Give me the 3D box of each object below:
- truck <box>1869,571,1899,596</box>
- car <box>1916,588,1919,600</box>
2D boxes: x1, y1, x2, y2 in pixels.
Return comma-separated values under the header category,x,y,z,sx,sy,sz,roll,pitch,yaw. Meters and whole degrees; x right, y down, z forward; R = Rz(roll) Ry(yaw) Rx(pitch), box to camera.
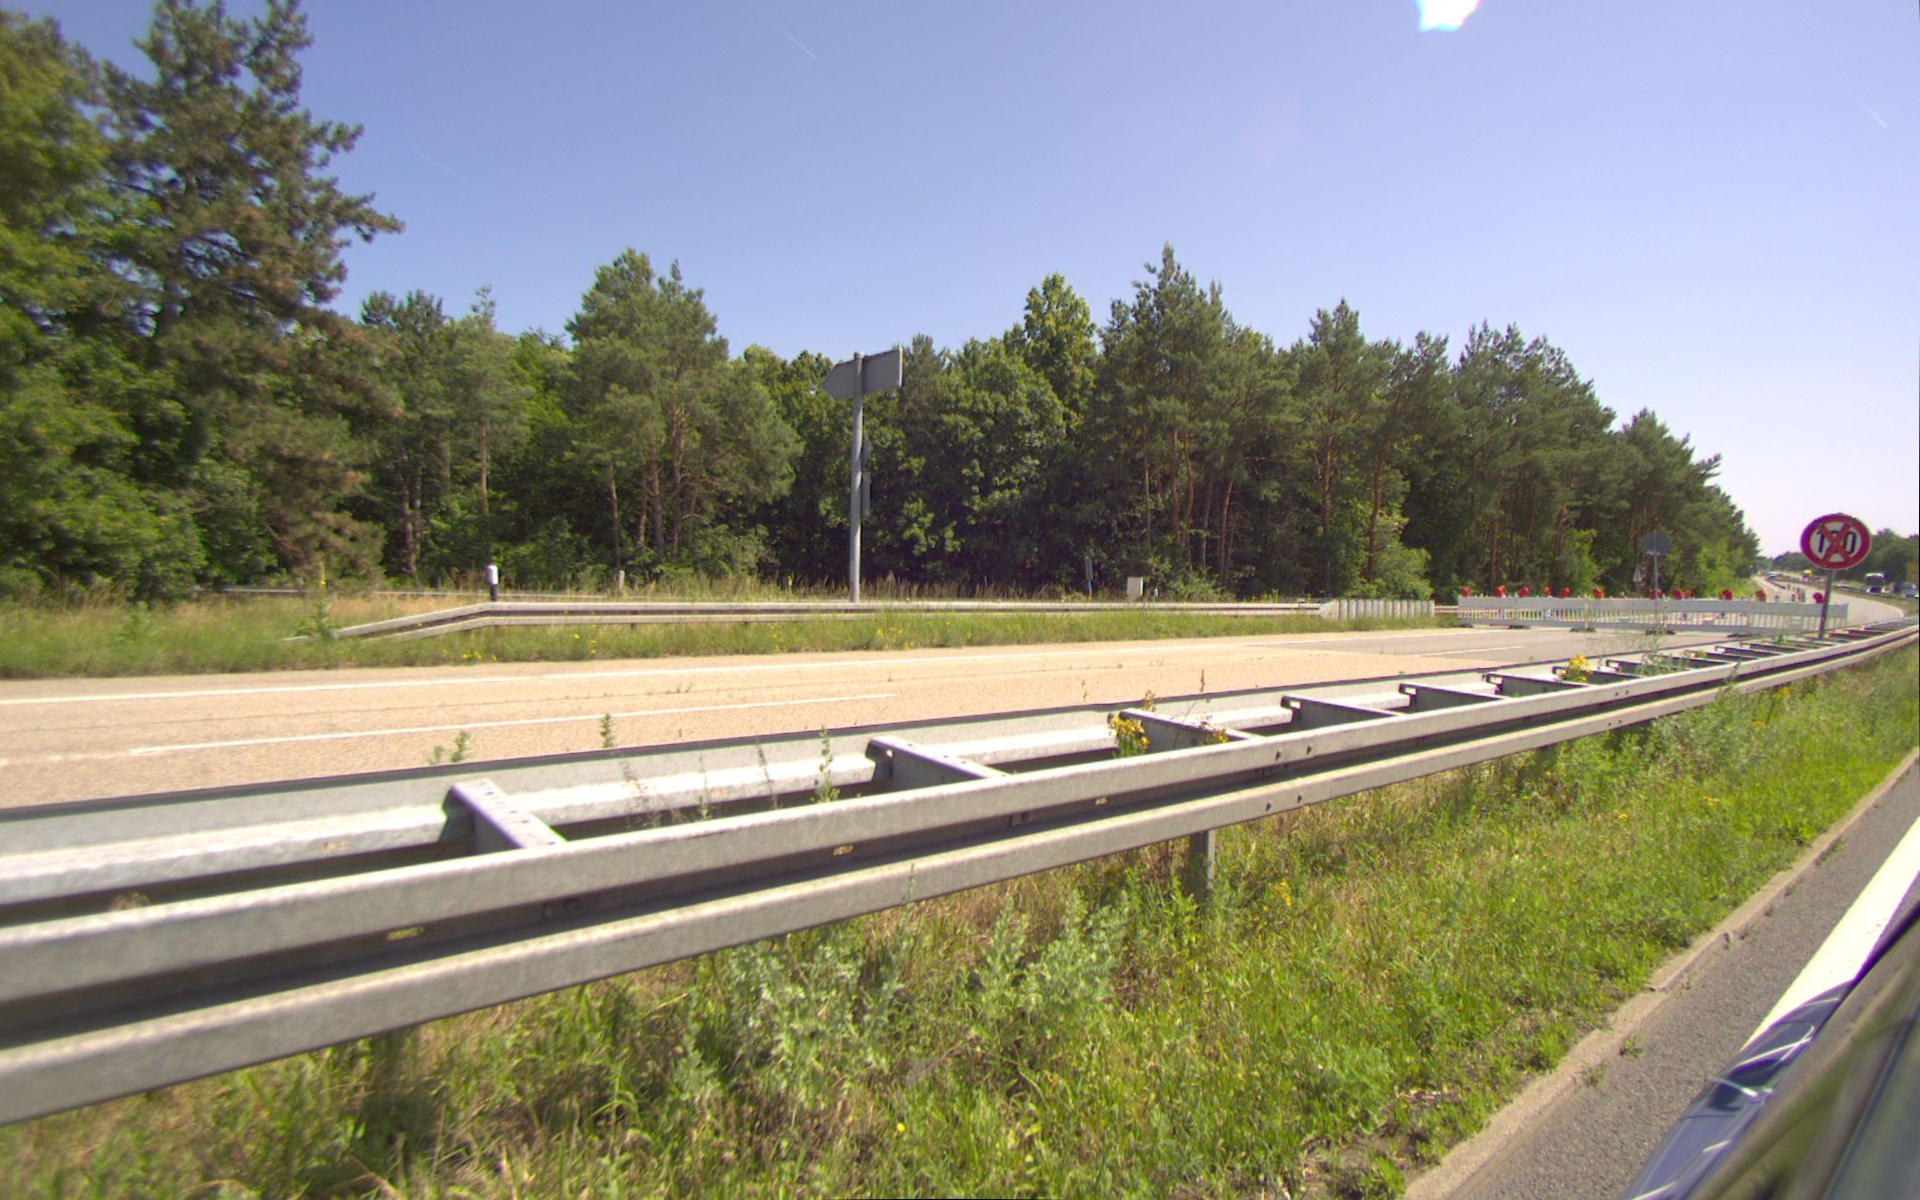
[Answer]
category,x,y,z,sx,sy,sz,roll,pitch,yaw
truck,165.820,-2.990,181.593,3.820,4.343,11.070,2,1,43
car,135.117,-0.805,141.727,1.521,1.677,3.922,2,1,40
